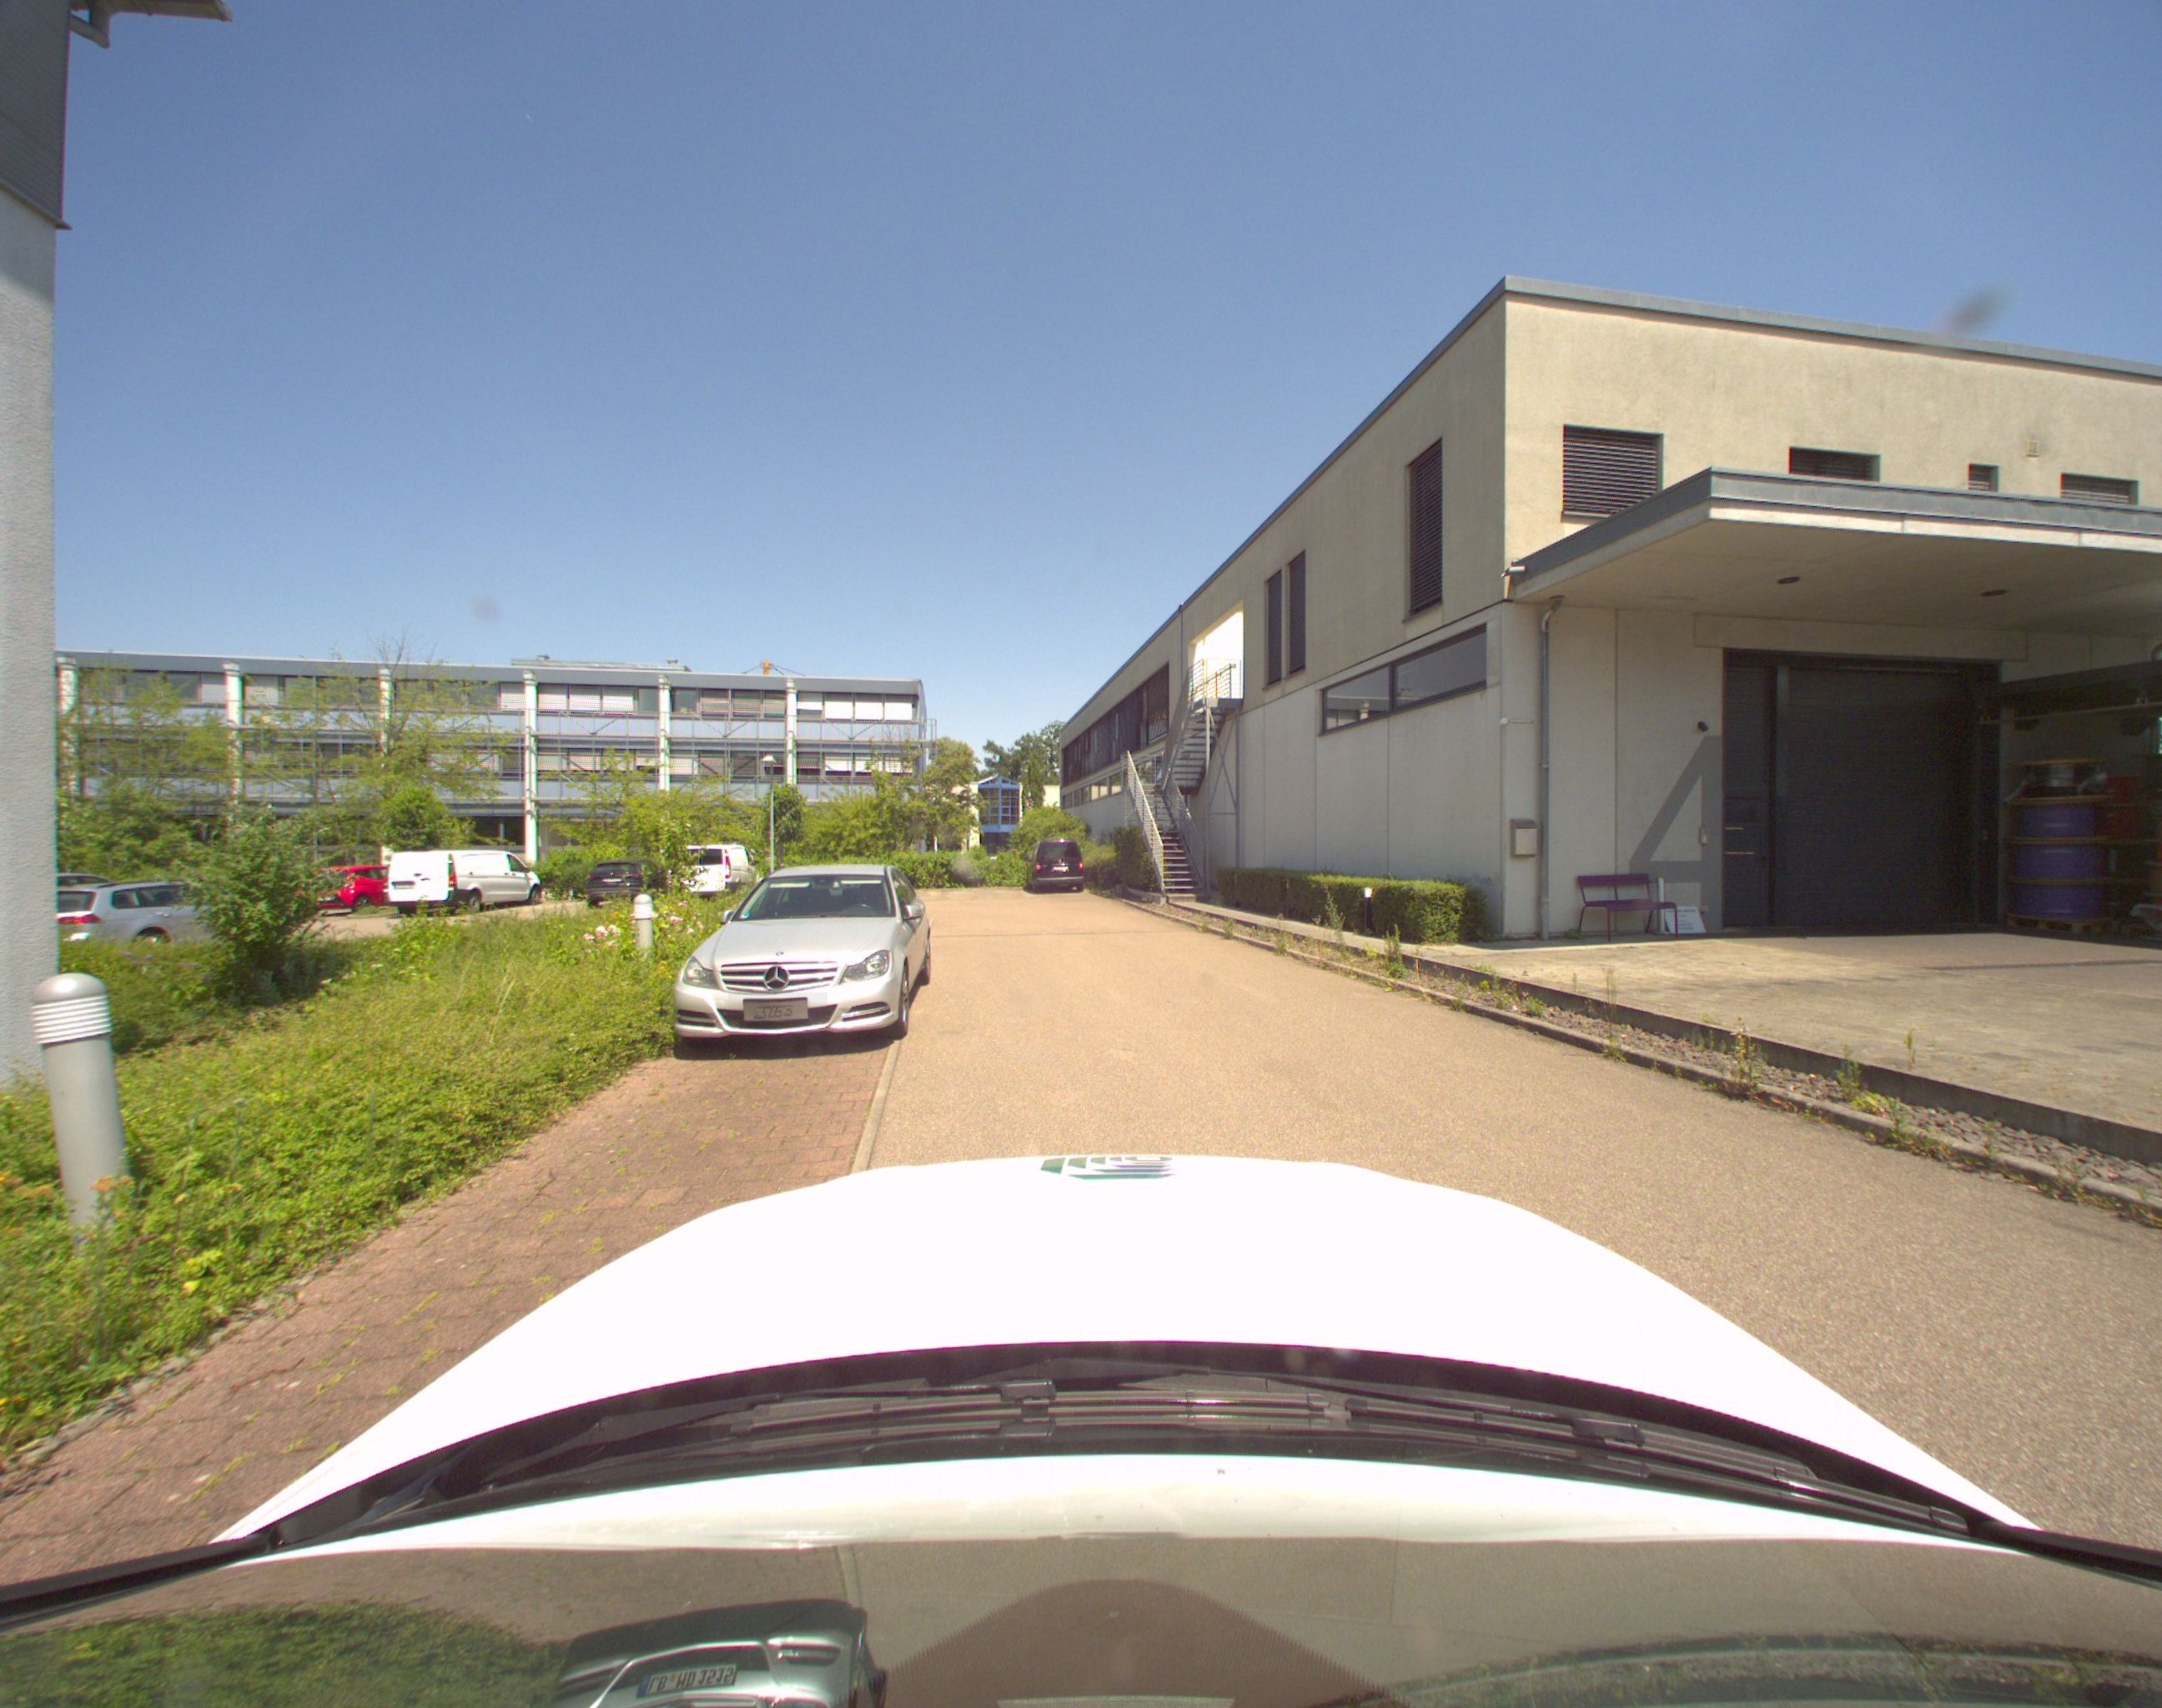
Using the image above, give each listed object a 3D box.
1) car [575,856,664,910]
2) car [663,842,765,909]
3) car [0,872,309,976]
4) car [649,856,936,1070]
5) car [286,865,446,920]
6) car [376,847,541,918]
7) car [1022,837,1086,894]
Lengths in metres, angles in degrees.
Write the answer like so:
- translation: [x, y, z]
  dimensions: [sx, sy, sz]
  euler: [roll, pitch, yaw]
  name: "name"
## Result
- translation: [-14.806, 0.863, 26.334]
  dimensions: [1.760, 1.476, 3.975]
  euler: [-2, 2, -19]
  name: "car"
- translation: [-11.845, 0.600, 26.609]
  dimensions: [1.914, 1.905, 4.790]
  euler: [-2, 1, -11]
  name: "car"
- translation: [-17.189, 1.164, 15.186]
  dimensions: [1.857, 1.472, 4.468]
  euler: [-1, 1, -10]
  name: "car"
- translation: [-2.435, 0.779, 7.955]
  dimensions: [1.727, 1.457, 4.138]
  euler: [-2, 0, -7]
  name: "car"
- translation: [-22.246, 1.130, 25.570]
  dimensions: [1.781, 1.441, 3.990]
  euler: [-1, 1, -7]
  name: "car"
- translation: [-18.966, 0.773, 25.136]
  dimensions: [1.881, 1.891, 4.790]
  euler: [-1, 1, -8]
  name: "car"
- translation: [-1.043, 0.364, 29.234]
  dimensions: [1.743, 1.837, 3.986]
  euler: [-2, 1, -10]
  name: "car"
